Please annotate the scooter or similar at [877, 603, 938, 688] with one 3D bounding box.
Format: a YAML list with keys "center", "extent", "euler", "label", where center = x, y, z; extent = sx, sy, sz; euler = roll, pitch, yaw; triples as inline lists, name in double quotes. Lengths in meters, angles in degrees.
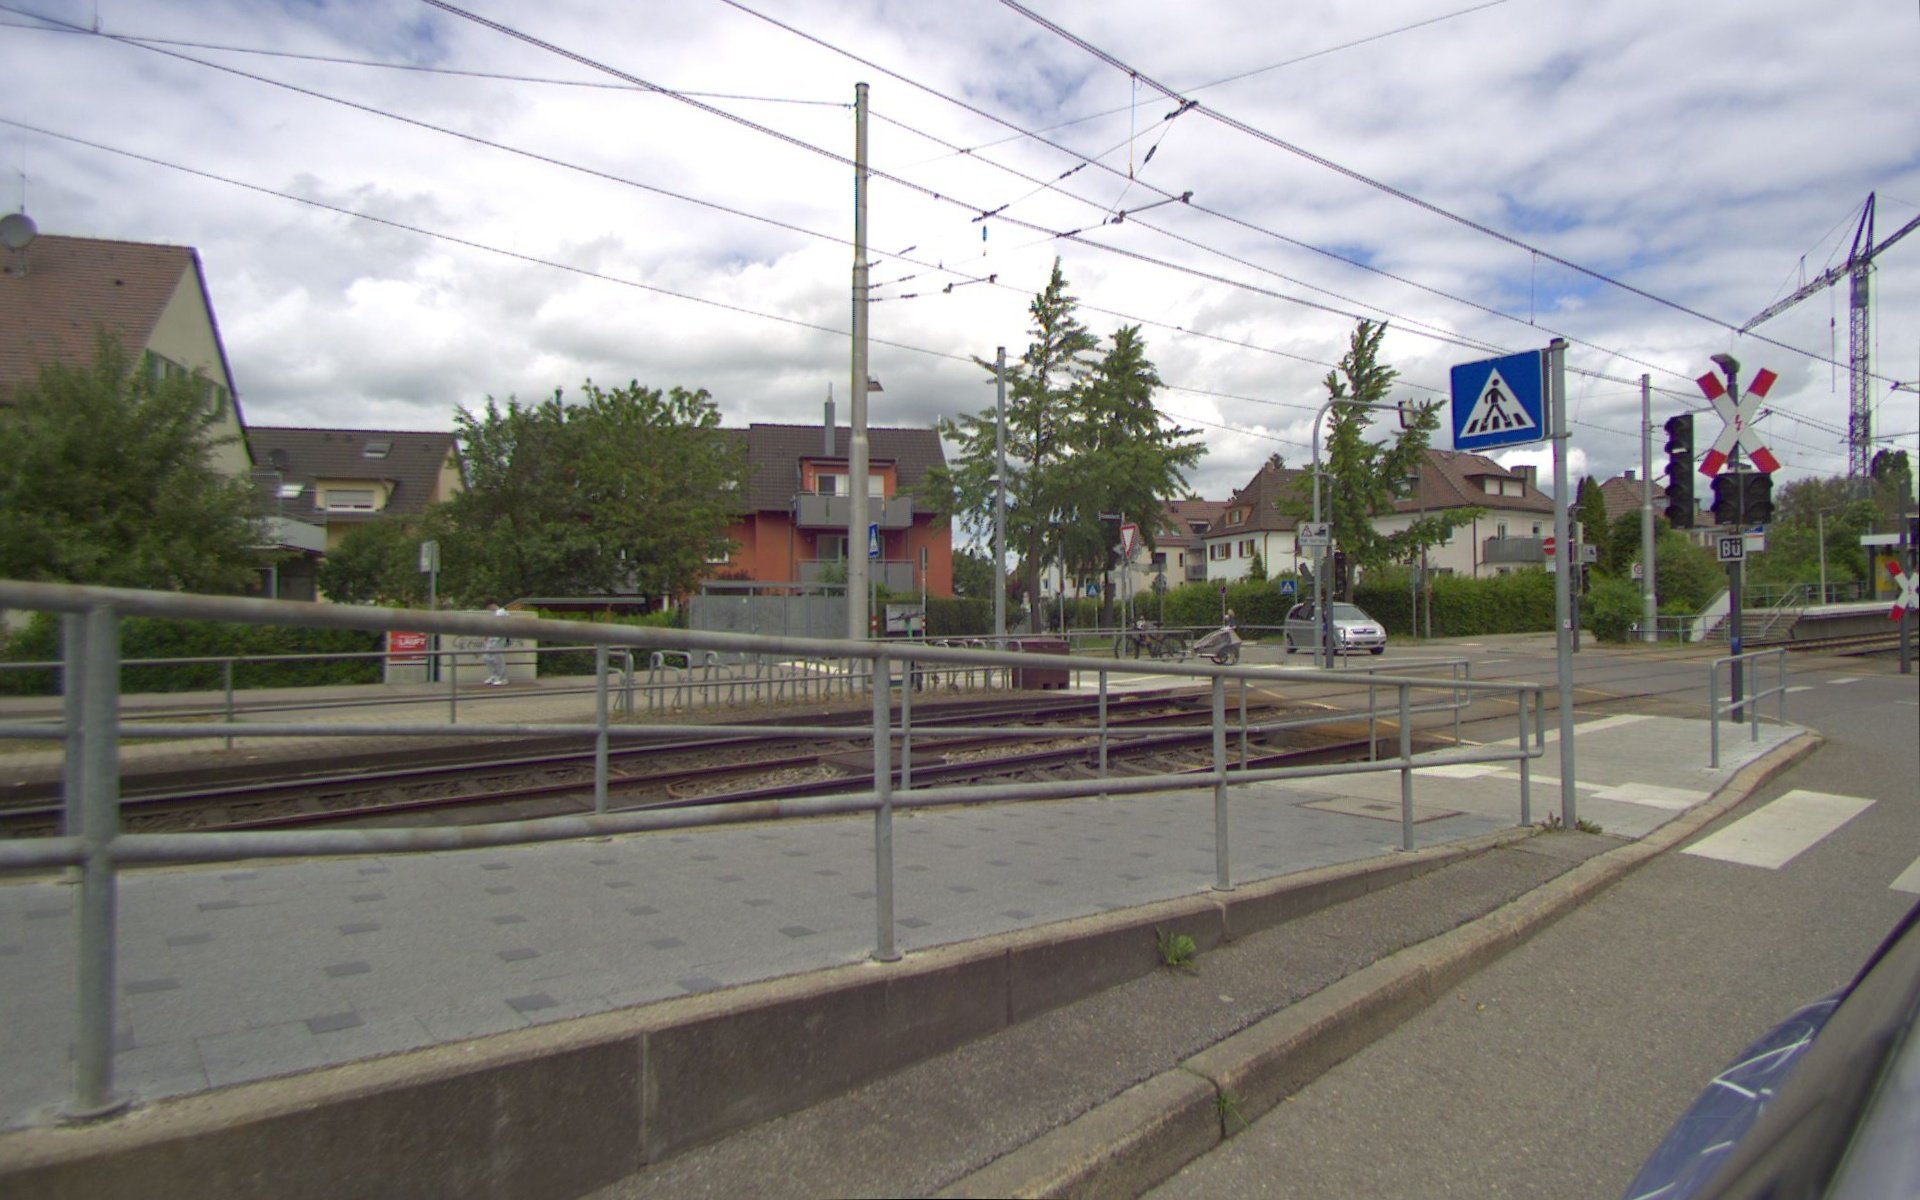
- center: [-0.861, 0.722, 16.400]
  extent: [0.480, 1.333, 1.050]
  euler: [2, -1, -36]
  label: "scooter or similar"

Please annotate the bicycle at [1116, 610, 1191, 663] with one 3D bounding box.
- center: [4.470, 0.828, 23.368]
  extent: [1.657, 1.170, 0.467]
  euler: [0, -1, -16]
  label: "bicycle"

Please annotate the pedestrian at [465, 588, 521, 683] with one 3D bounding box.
- center: [-9.809, 0.738, 21.269]
  extent: [0.620, 1.939, 0.823]
  euler: [0, -2, 27]
  label: "pedestrian"

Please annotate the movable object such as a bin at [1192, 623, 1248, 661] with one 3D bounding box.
- center: [5.998, 0.971, 23.367]
  extent: [1.072, 0.835, 0.580]
  euler: [-1, -1, -13]
  label: "movable object such as a bin"

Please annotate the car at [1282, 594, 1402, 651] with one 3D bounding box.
- center: [11.459, 0.655, 30.659]
  extent: [1.692, 1.588, 3.932]
  euler: [-1, -1, -8]
  label: "car"

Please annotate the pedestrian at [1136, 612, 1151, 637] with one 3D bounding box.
- center: [11.686, 1.582, 64.373]
  extent: [0.734, 1.550, 0.545]
  euler: [-2, -1, -21]
  label: "pedestrian"

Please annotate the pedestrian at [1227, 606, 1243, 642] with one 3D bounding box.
- center: [12.818, 1.105, 47.147]
  extent: [0.591, 1.640, 0.672]
  euler: [-3, -1, 22]
  label: "pedestrian"

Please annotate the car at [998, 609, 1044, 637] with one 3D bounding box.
- center: [3.821, 1.444, 64.375]
  extent: [1.815, 1.657, 4.472]
  euler: [-1, -1, -11]
  label: "car"
